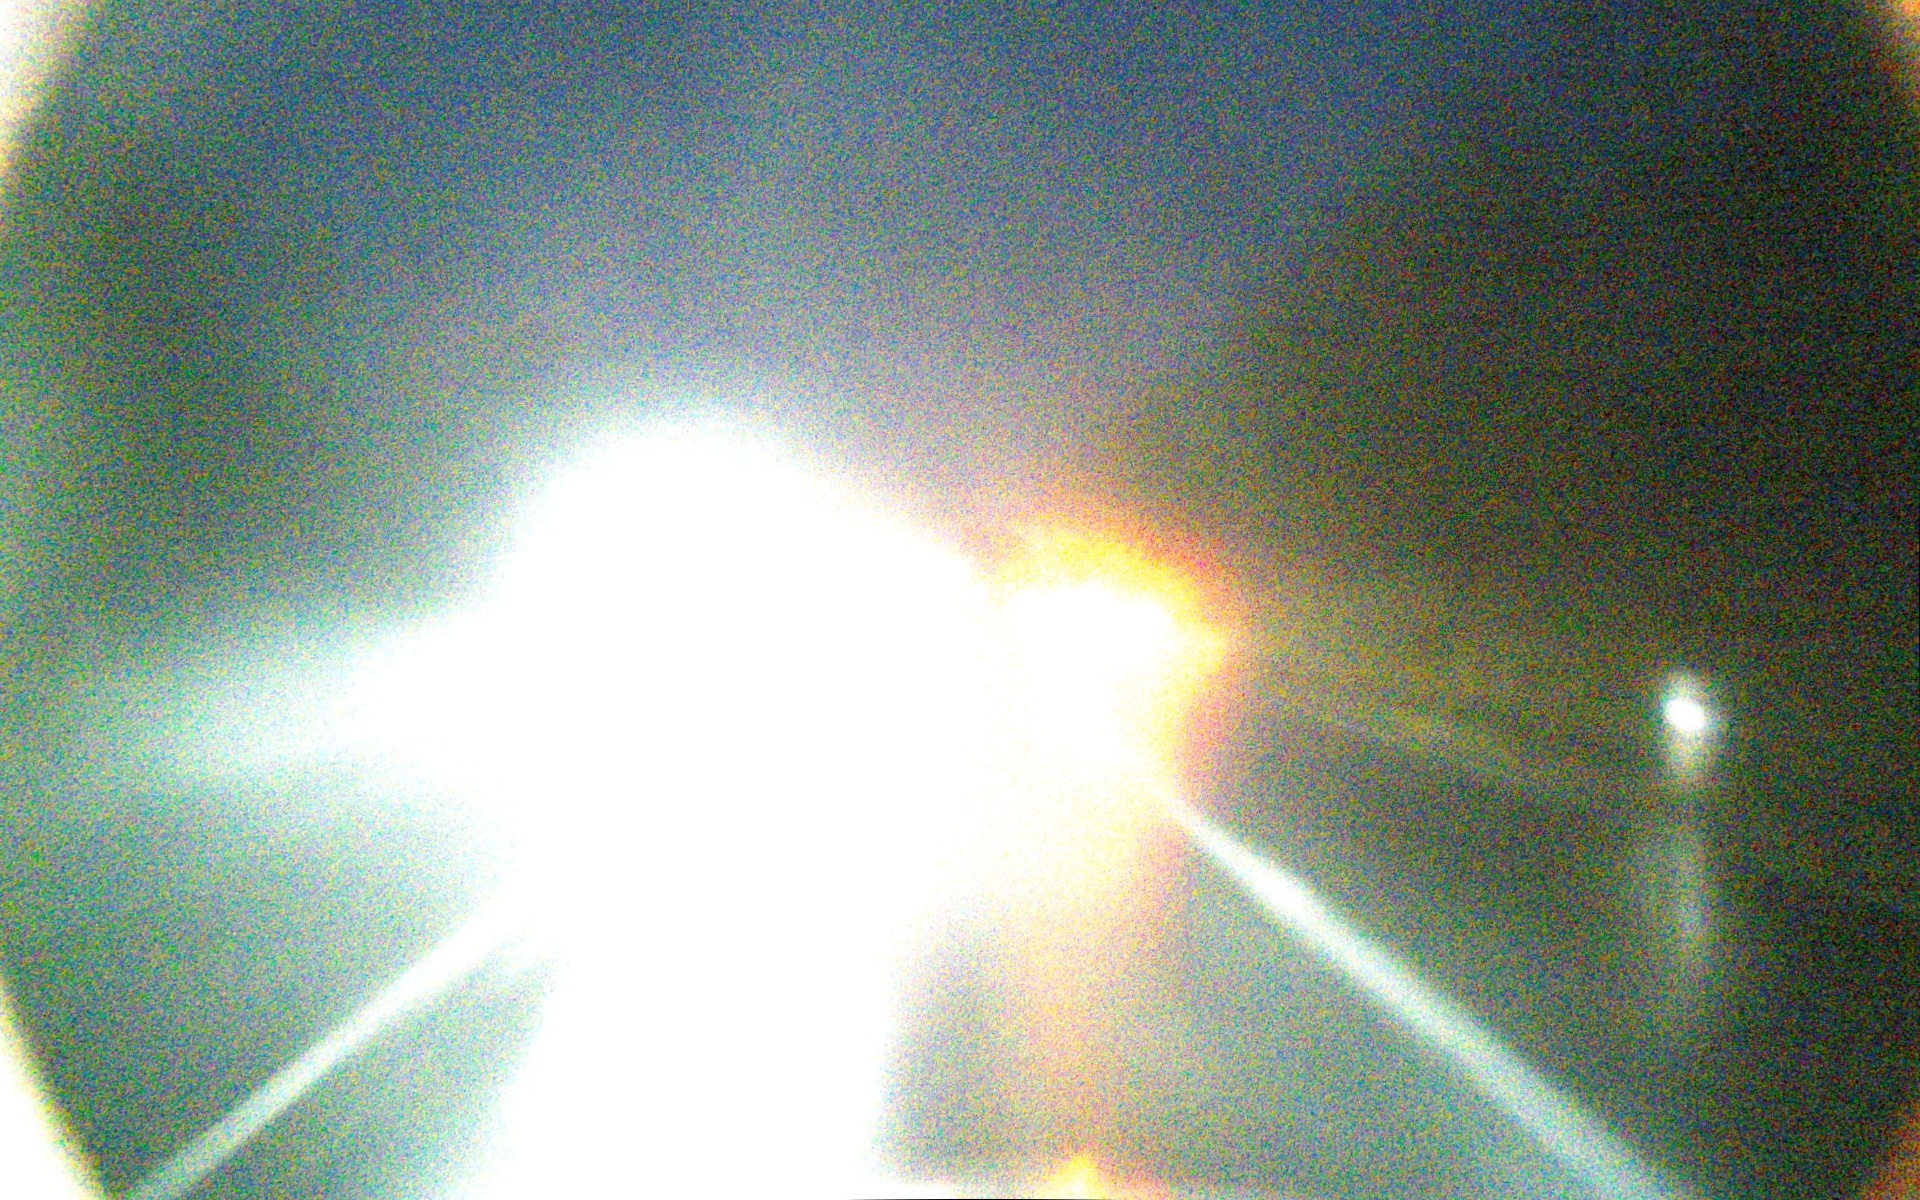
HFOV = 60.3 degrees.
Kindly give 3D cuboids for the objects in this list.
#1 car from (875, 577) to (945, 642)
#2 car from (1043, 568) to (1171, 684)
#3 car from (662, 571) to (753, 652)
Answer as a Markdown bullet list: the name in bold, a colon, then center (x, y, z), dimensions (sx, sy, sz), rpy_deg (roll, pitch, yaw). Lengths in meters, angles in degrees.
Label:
- **car**: center (-1.351, 0.223, 44.196), dimensions (1.772, 1.650, 3.998), rpy_deg (0, 0, -3)
- **car**: center (2.735, 0.454, 31.591), dimensions (2.050, 2.049, 4.000), rpy_deg (1, 0, 0)
- **car**: center (-5.430, 0.229, 35.929), dimensions (1.774, 1.650, 3.995), rpy_deg (0, 0, -6)
